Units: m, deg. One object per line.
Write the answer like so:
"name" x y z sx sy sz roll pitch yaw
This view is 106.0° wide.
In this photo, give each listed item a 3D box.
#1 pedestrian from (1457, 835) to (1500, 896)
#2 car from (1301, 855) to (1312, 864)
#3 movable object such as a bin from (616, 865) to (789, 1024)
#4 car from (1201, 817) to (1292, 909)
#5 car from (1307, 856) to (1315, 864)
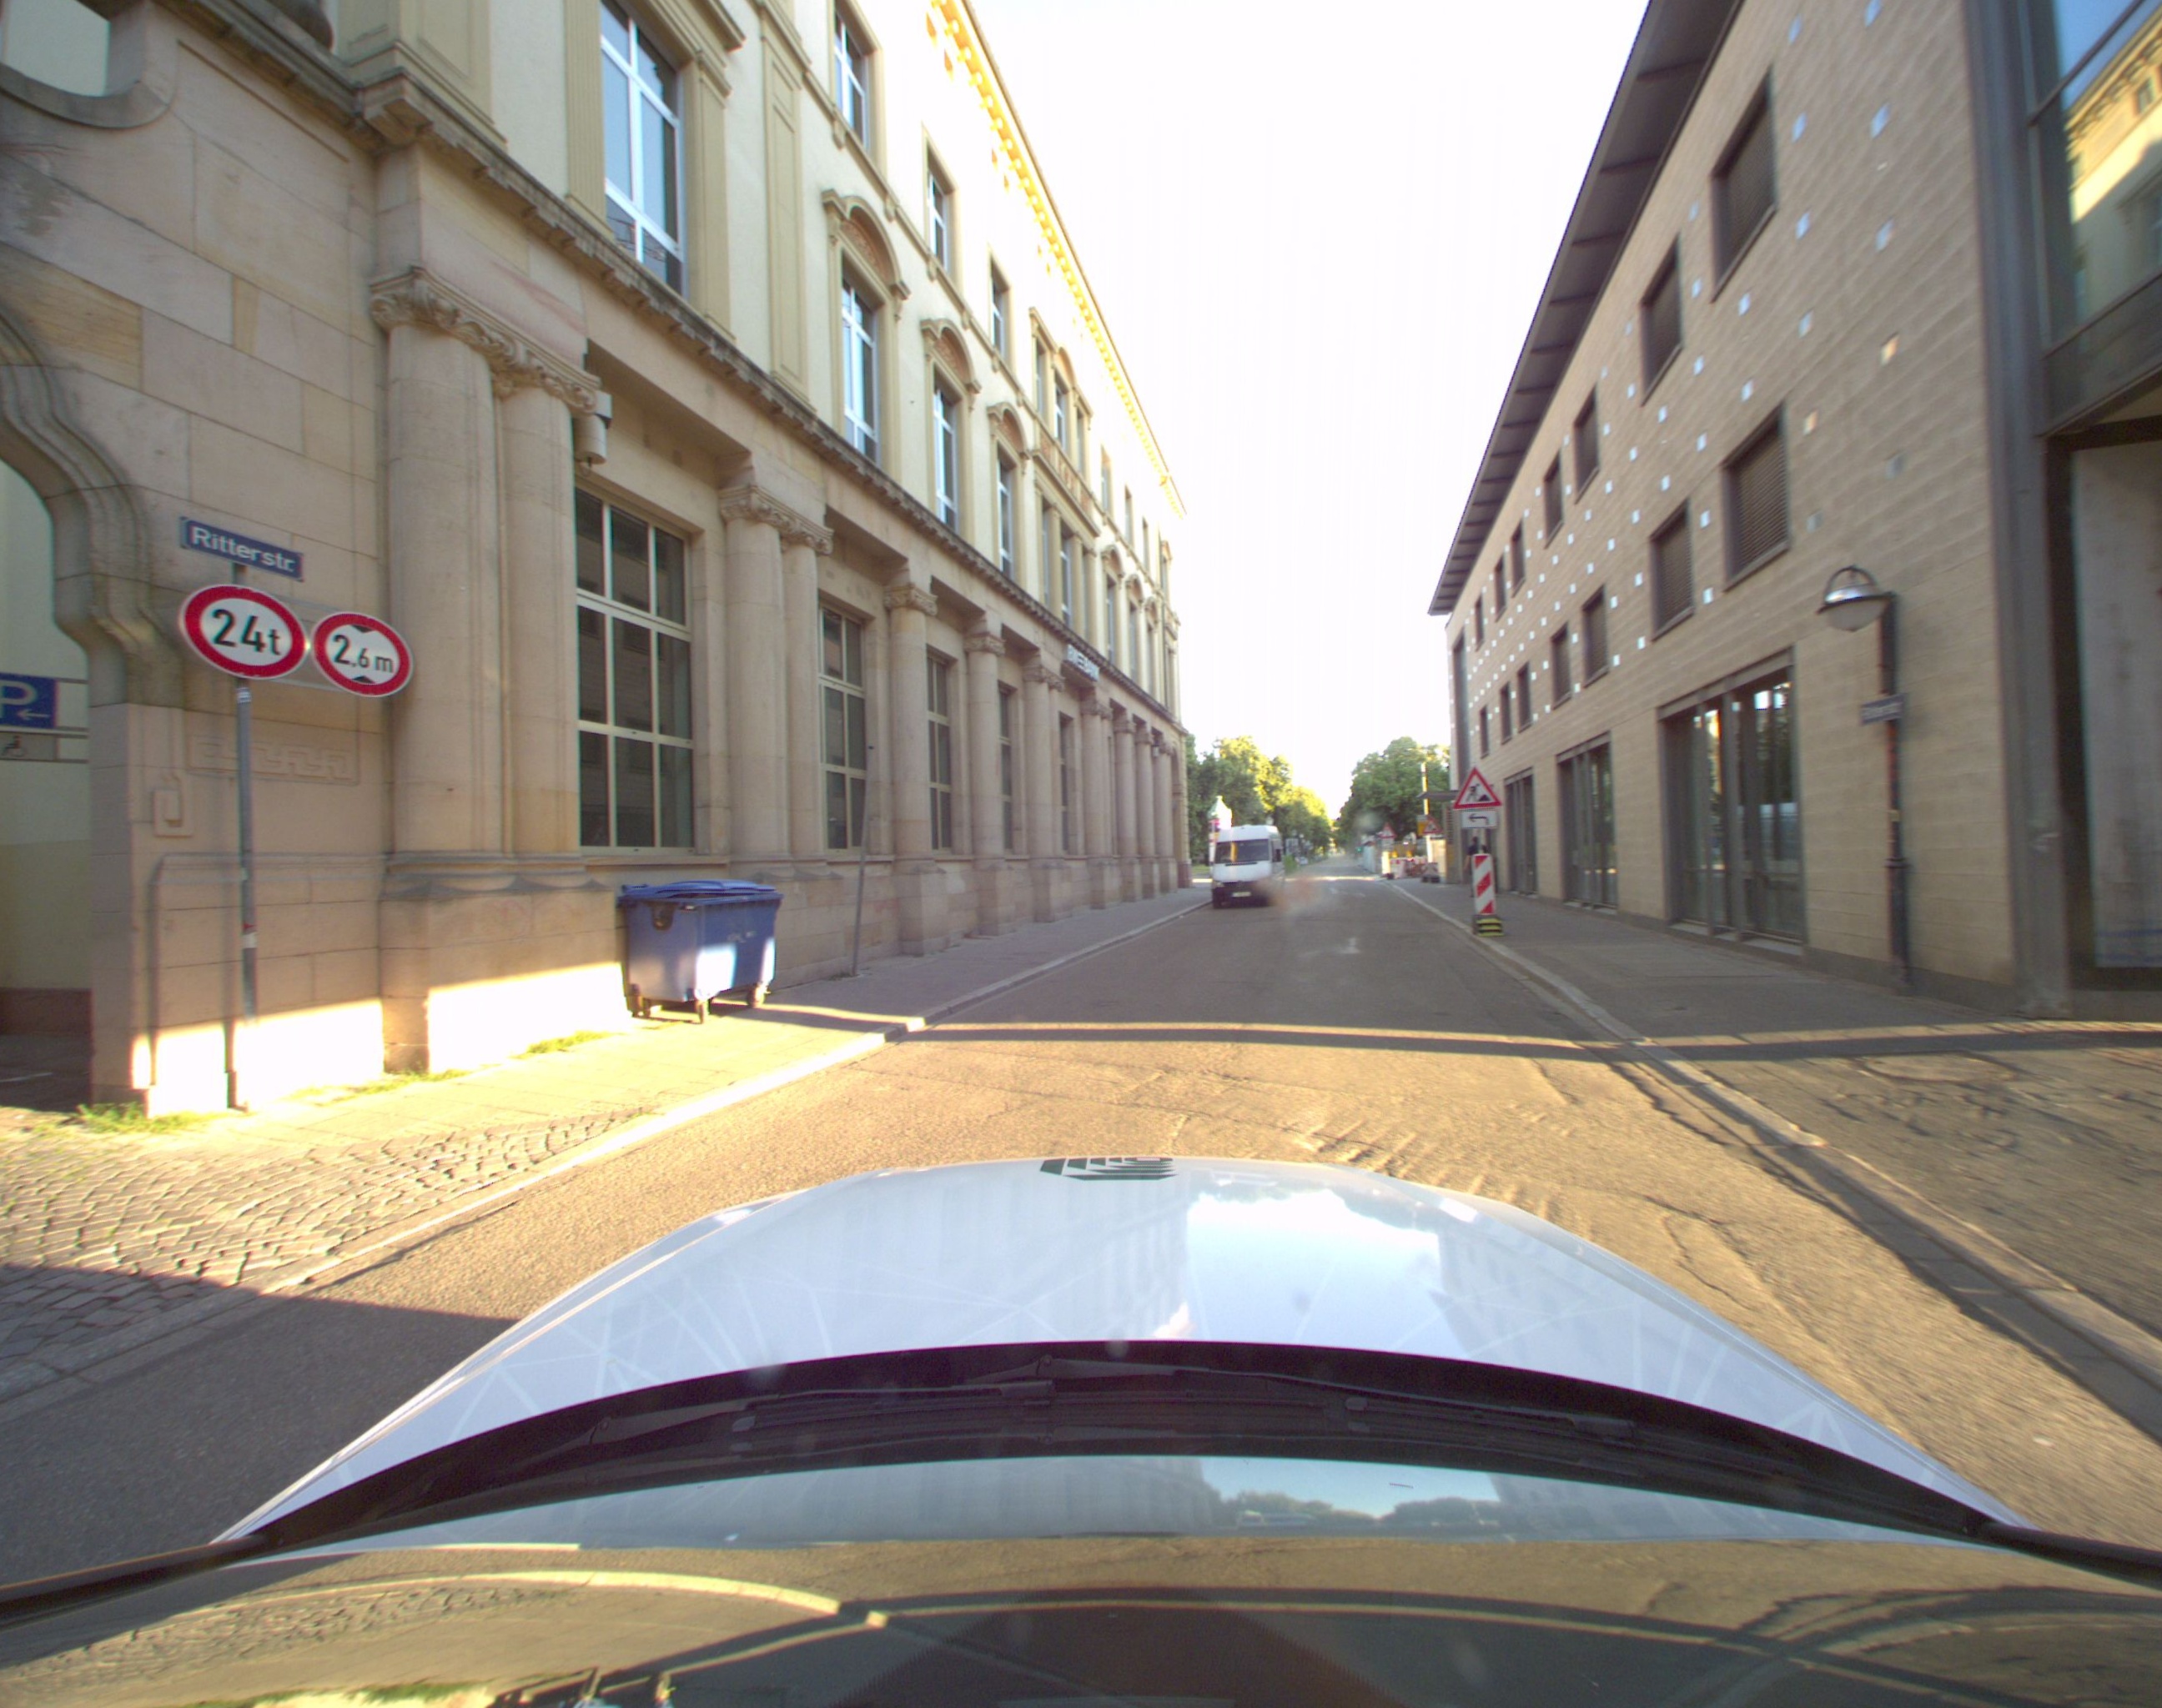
"pedestrian" 11.505 0.322 23.607 0.915 1.702 0.872 -3 -1 17
"car" 36.115 0.889 130.433 1.456 1.256 3.695 -1 0 17
"movable object such as a bin" -3.838 0.854 8.343 1.065 1.475 1.193 -1 -1 21
"car" 5.571 0.262 26.609 1.980 2.512 6.500 -6 -2 18
"car" 43.748 1.112 154.862 1.456 1.404 3.695 -1 0 17
